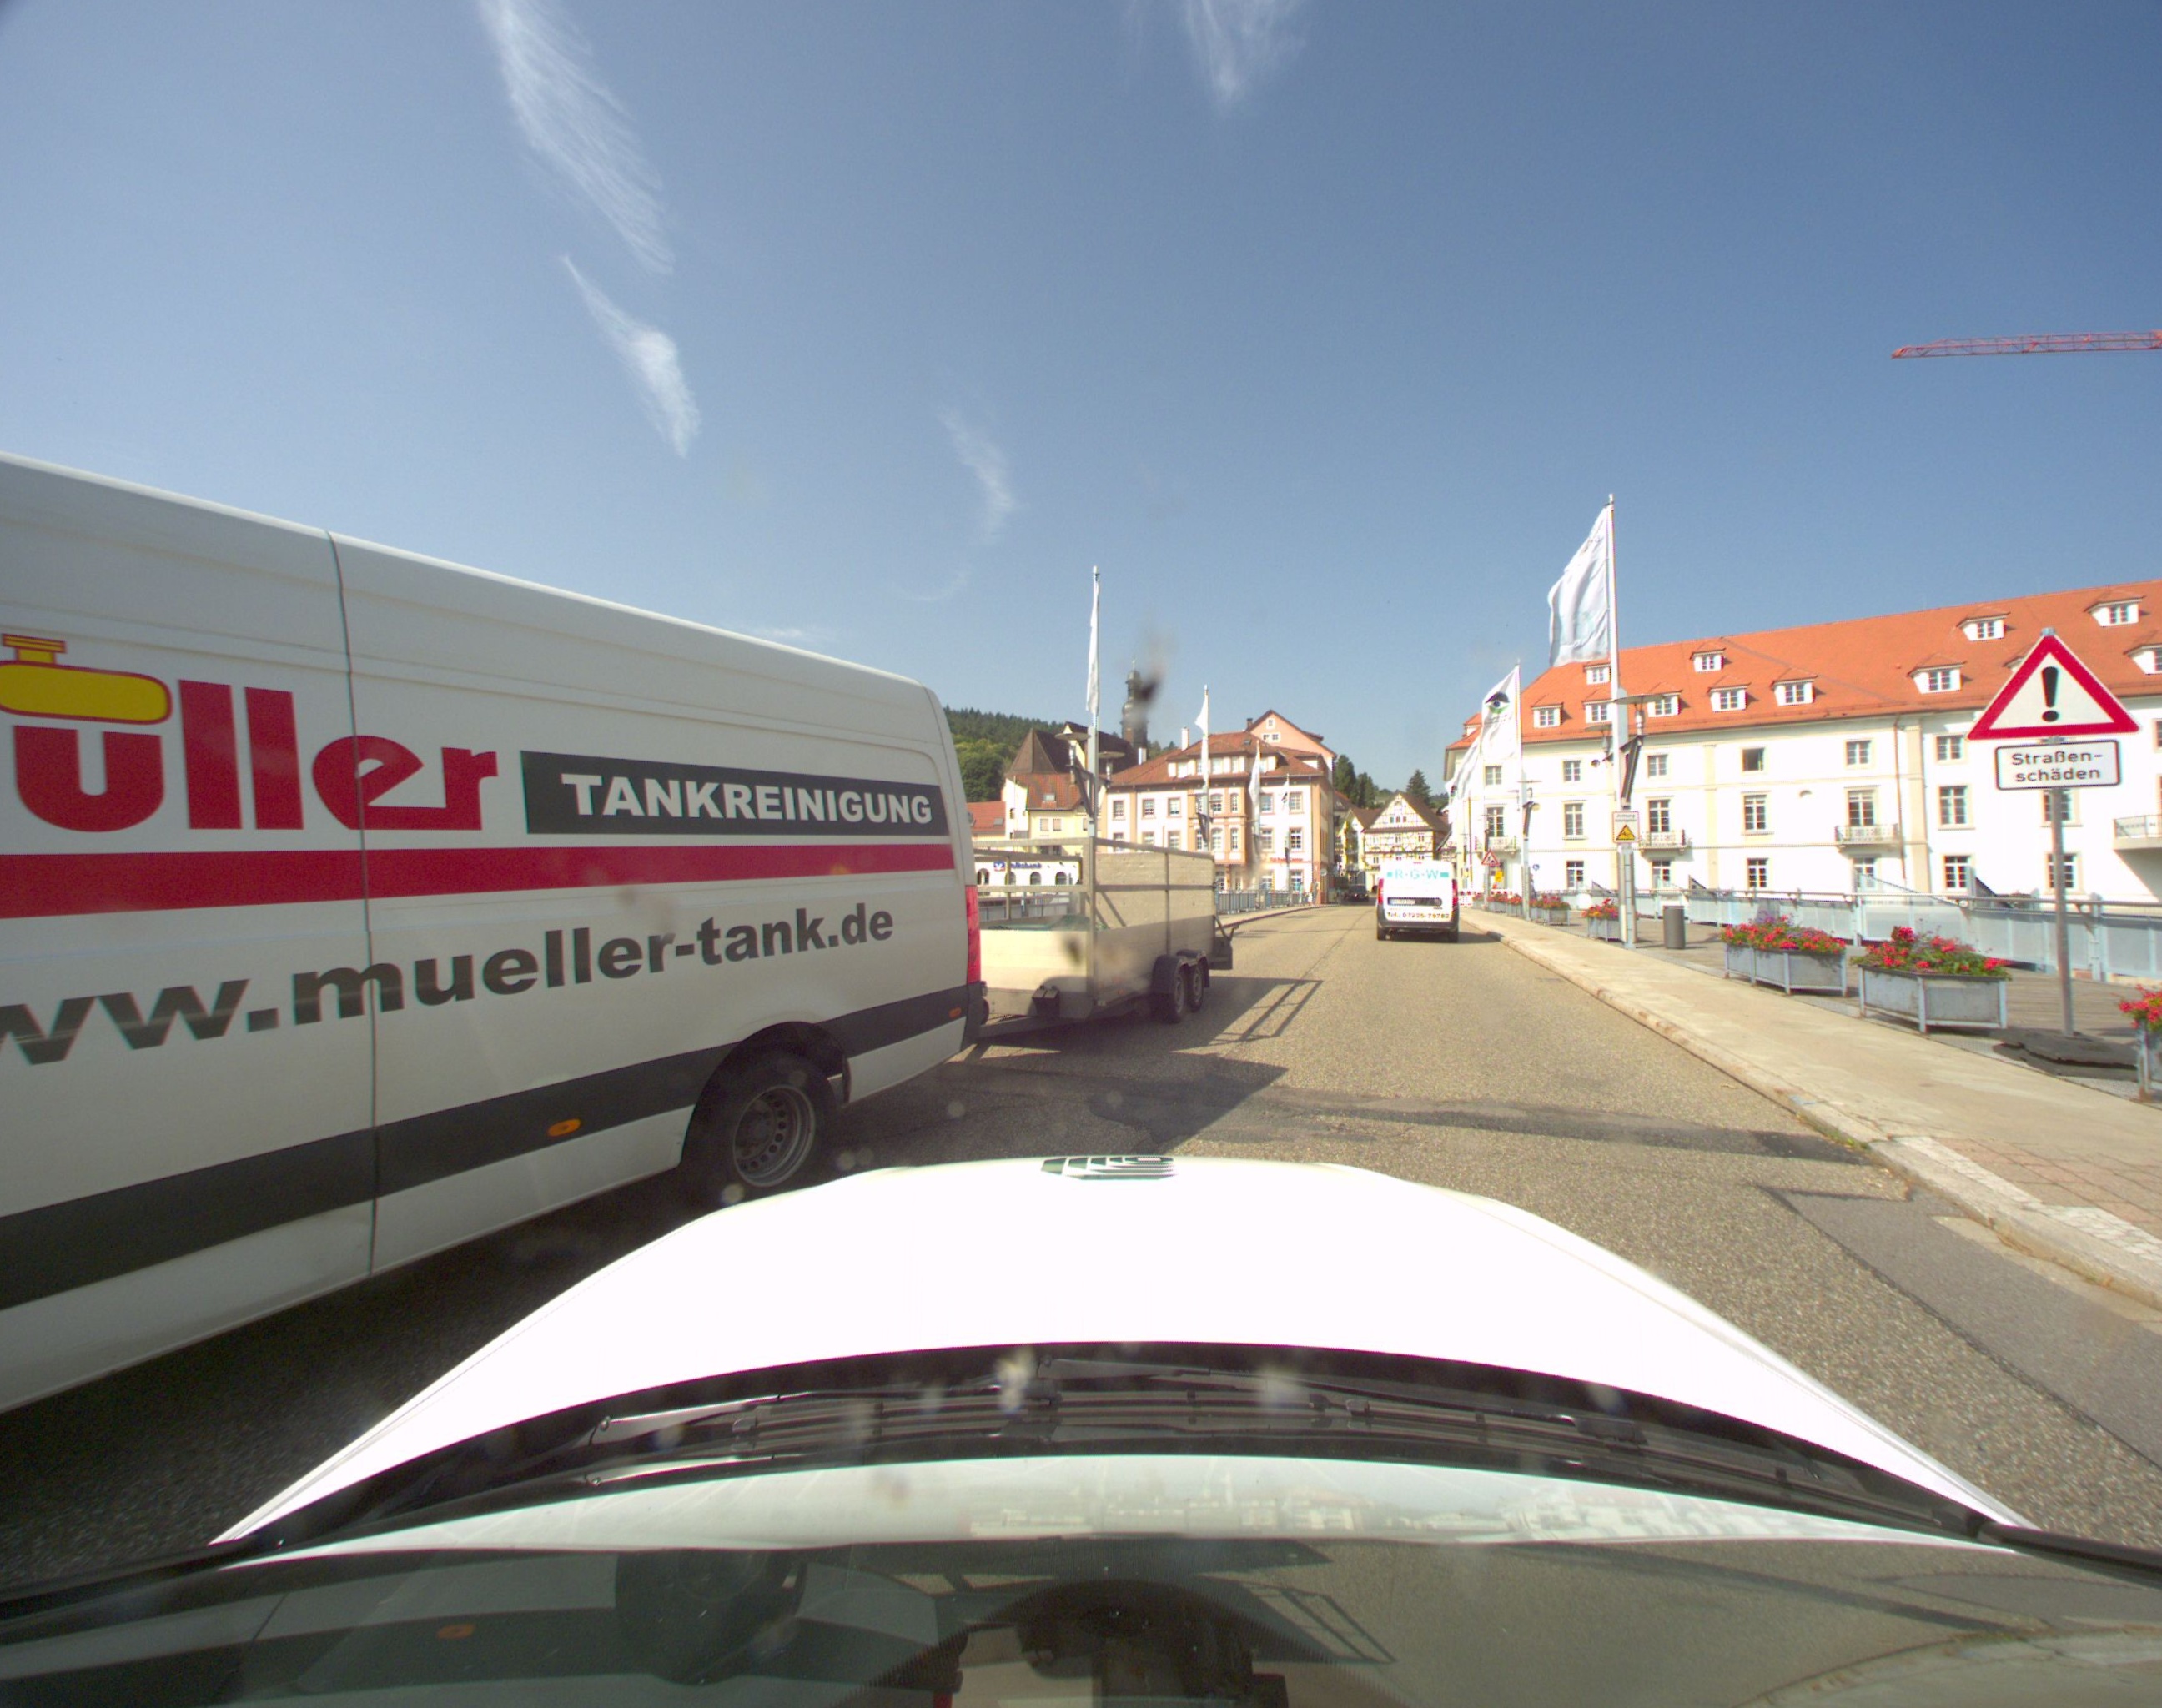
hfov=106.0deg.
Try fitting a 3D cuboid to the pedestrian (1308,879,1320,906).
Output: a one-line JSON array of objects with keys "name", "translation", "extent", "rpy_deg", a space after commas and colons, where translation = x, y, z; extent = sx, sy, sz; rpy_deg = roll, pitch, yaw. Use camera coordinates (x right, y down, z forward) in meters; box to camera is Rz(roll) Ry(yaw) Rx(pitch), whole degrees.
[{"name": "pedestrian", "translation": [15.297, 2.511, 53.549], "extent": [0.609, 1.763, 0.868], "rpy_deg": [0, -2, 26]}]

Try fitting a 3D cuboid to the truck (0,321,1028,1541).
[{"name": "truck", "translation": [-3.114, 0.182, 2.625], "extent": [2.084, 2.699, 7.178], "rpy_deg": [-2, -1, 31]}]

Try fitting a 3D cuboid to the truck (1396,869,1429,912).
[{"name": "truck", "translation": [20.749, 2.268, 51.082], "extent": [1.845, 2.586, 4.281], "rpy_deg": [0, -3, 21]}]

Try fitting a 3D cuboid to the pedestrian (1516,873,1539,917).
[{"name": "pedestrian", "translation": [16.750, 1.529, 30.540], "extent": [0.660, 1.619, 0.566], "rpy_deg": [0, -2, 19]}]

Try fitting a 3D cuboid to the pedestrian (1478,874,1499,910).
[{"name": "pedestrian", "translation": [19.629, 1.807, 39.246], "extent": [0.739, 1.723, 0.731], "rpy_deg": [0, -2, 14]}]

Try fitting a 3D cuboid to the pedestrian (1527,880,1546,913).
[{"name": "pedestrian", "translation": [17.821, 1.666, 31.869], "extent": [0.448, 1.244, 0.629], "rpy_deg": [-1, -4, 16]}]

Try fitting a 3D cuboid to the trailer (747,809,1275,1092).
[{"name": "trailer", "translation": [-0.144, 0.707, 8.374], "extent": [2.585, 1.828, 5.672], "rpy_deg": [-2, -2, 30]}]

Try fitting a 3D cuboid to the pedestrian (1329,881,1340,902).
[{"name": "pedestrian", "translation": [22.504, 3.321, 72.290], "extent": [0.796, 1.858, 0.619], "rpy_deg": [-1, -2, 20]}]

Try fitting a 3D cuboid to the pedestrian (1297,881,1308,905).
[{"name": "pedestrian", "translation": [14.651, 2.564, 53.858], "extent": [0.578, 1.610, 0.540], "rpy_deg": [0, -2, 25]}]

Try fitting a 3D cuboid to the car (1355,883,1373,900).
[{"name": "car", "translation": [31.090, 4.135, 89.432], "extent": [1.762, 1.793, 4.719], "rpy_deg": [0, -2, 20]}]

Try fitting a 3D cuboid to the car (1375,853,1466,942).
[{"name": "car", "translation": [8.213, 1.031, 19.846], "extent": [1.828, 1.906, 4.336], "rpy_deg": [0, -3, 22]}]
